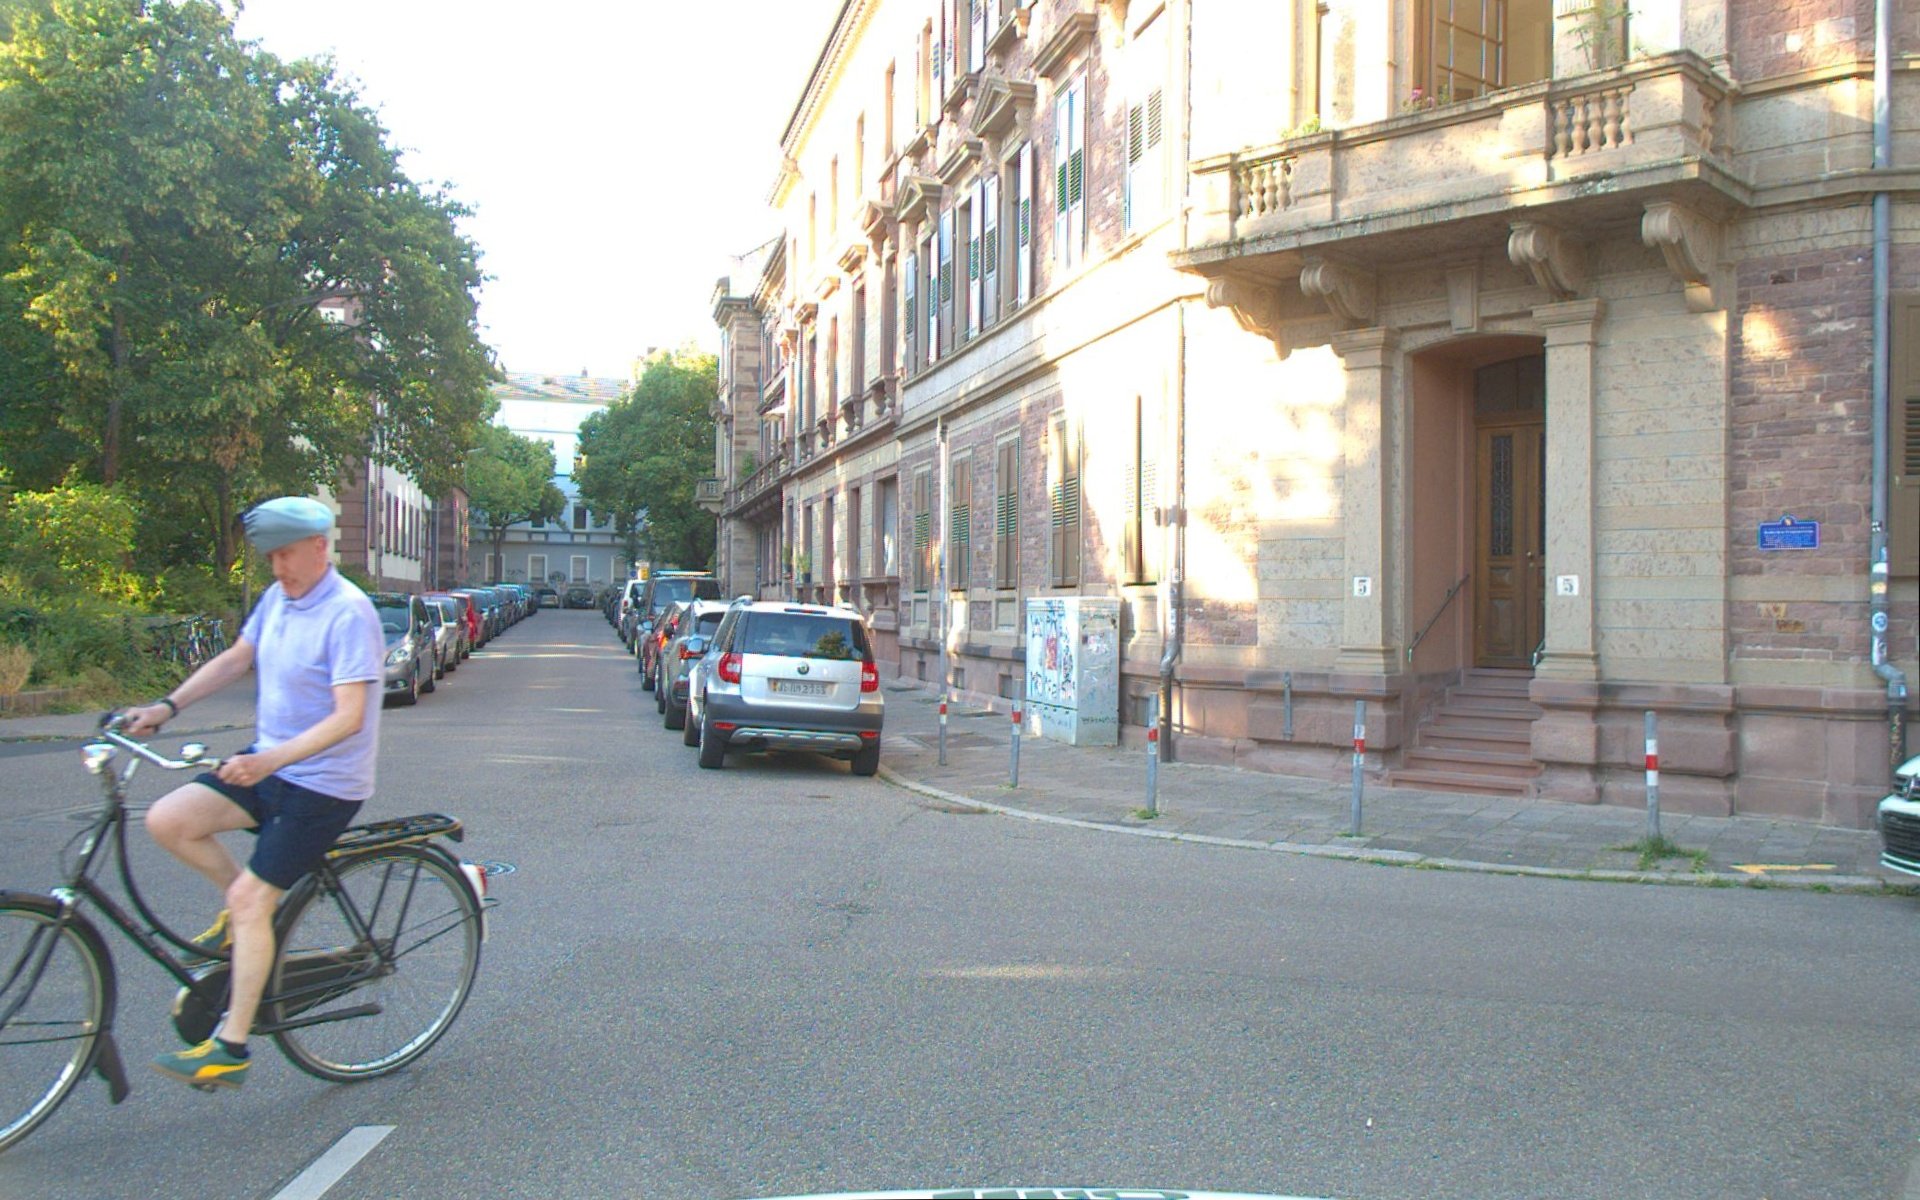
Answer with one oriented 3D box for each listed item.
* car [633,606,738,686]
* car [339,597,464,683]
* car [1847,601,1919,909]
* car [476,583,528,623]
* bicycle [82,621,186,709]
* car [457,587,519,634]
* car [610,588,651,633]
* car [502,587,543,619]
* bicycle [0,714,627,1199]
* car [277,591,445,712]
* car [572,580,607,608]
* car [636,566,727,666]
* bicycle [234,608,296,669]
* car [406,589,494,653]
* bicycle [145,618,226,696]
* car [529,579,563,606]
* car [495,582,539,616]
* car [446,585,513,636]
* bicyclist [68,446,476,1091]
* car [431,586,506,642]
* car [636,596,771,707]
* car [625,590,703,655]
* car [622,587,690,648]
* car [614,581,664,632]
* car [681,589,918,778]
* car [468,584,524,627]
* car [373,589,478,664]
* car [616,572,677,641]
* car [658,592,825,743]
[{"bbox_3d":[-5.461,0.870,32.597,1.767,1.369,3.942,3,-1,-13],"label":"car"},{"bbox_3d":[-10.821,0.732,32.275,1.794,1.472,3.919,4,-1,-12],"label":"car"},{"bbox_3d":[7.468,0.884,8.909,4.387,1.678,1.876,1,-3,13],"label":"car"},{"bbox_3d":[-19.233,0.122,69.635,1.794,1.526,3.919,4,-1,-12],"label":"car"},{"bbox_3d":[-11.526,0.877,23.172,0.586,1.120,2.620,0,0,-11],"label":"bicycle"},{"bbox_3d":[-16.988,0.363,59.701,1.794,1.526,3.919,4,-1,-12],"label":"car"},{"bbox_3d":[-16.023,0.489,80.226,1.767,2.052,3.942,3,-1,-13],"label":"car"},{"bbox_3d":[-22.590,0.137,85.522,1.794,1.526,3.919,4,-1,-12],"label":"car"},{"bbox_3d":[-2.017,0.920,4.636,0.689,1.073,2.108,0,0,44],"label":"bicycle"},{"bbox_3d":[-9.246,0.738,25.857,1.794,1.643,4.278,4,-1,-12],"label":"car"},{"bbox_3d":[-25.634,-0.384,114.382,1.963,1.713,3.979,2,-2,-18],"label":"car"},{"bbox_3d":[-6.505,0.345,38.396,1.767,2.108,3.942,3,-1,-13],"label":"car"},{"bbox_3d":[-13.494,0.727,32.167,0.586,1.120,2.620,0,0,-11],"label":"bicycle"},{"bbox_3d":[-13.476,0.525,43.886,1.794,1.526,3.919,4,-1,-12],"label":"car"},{"bbox_3d":[-12.064,0.854,25.830,0.586,1.121,2.619,0,0,-13],"label":"bicycle"},{"bbox_3d":[-28.310,-0.488,113.045,1.963,1.713,3.979,2,-2,-18],"label":"car"},{"bbox_3d":[-21.552,-0.044,80.543,1.794,1.526,3.919,4,-1,-12],"label":"car"},{"bbox_3d":[-16.046,0.345,55.382,1.794,1.526,3.919,4,-1,-12],"label":"car"},{"bbox_3d":[-1.947,0.424,4.703,0.689,1.616,0.868,0,-1,45],"label":"bicyclist"},{"bbox_3d":[-14.862,0.404,50.220,1.794,1.526,3.919,4,-1,-12],"label":"car"},{"bbox_3d":[-4.399,0.811,27.925,1.768,1.642,3.939,3,-1,-15],"label":"car"},{"bbox_3d":[-7.864,0.576,43.717,1.767,1.550,3.942,3,-1,-13],"label":"car"},{"bbox_3d":[-9.082,0.502,49.195,1.767,1.651,3.942,3,-1,-13],"label":"car"},{"bbox_3d":[-12.804,0.251,65.820,1.767,1.871,3.942,3,-1,-13],"label":"car"},{"bbox_3d":[-1.833,0.806,17.586,1.883,1.686,4.172,4,-1,-13],"label":"car"},{"bbox_3d":[-18.344,0.197,65.461,1.794,1.526,3.919,4,-1,-12],"label":"car"},{"bbox_3d":[-12.104,0.574,37.677,1.794,1.504,3.919,4,-1,-12],"label":"car"},{"bbox_3d":[-10.411,0.191,54.784,1.767,2.108,3.942,3,-1,-13],"label":"car"},{"bbox_3d":[-3.072,0.831,22.462,1.794,1.753,4.529,4,-1,-12],"label":"car"}]
